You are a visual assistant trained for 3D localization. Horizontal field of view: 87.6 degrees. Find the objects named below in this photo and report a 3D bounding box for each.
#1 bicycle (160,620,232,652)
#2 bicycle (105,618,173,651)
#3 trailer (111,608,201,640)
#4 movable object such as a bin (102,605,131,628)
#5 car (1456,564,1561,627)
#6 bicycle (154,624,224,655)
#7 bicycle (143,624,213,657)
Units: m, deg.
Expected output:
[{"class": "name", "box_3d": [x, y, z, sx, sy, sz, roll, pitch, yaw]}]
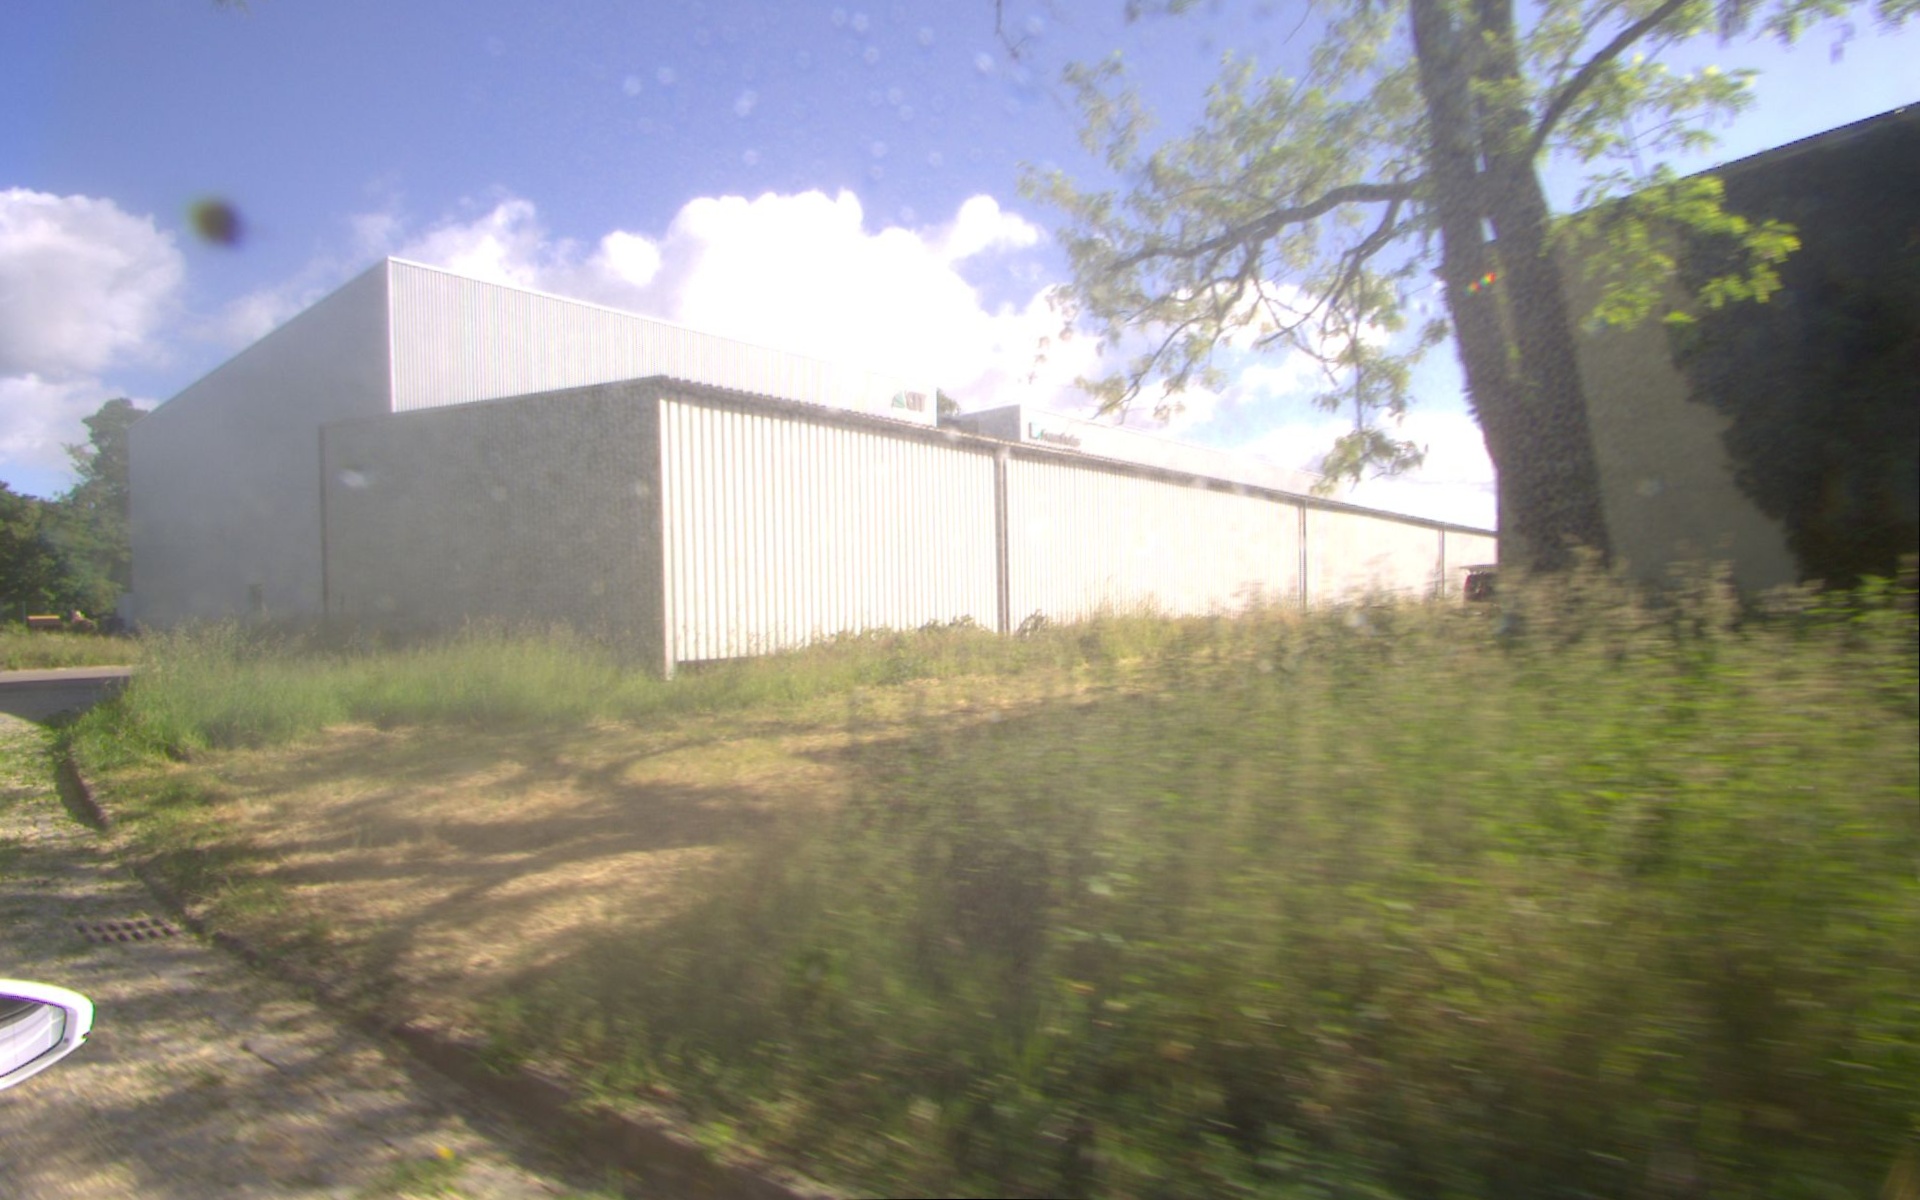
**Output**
[{"class": "bicycle", "box_3d": [-25.886, 1.218, 33.936, 0.428, 0.991, 1.874, 0, 1, 40]}, {"class": "bicycle", "box_3d": [-30.268, 1.245, 36.930, 0.428, 1.141, 1.874, 0, 1, 40]}, {"class": "trailer", "box_3d": [-33.345, 0.992, 41.574, 1.231, 1.216, 2.698, -1, 1, 40]}, {"class": "movable object such as a bin", "box_3d": [-64.442, 1.262, 76.501, 2.812, 1.678, 1.355, -1, 1, 44]}, {"class": "car", "box_3d": [17.942, -0.156, 32.647, 2.056, 1.854, 4.237, -4, -1, 42]}, {"class": "bicycle", "box_3d": [-26.801, 1.365, 34.822, 0.428, 0.991, 1.874, 0, 1, 40]}, {"class": "bicycle", "box_3d": [-27.867, 1.418, 35.706, 0.428, 1.096, 1.874, 0, 1, 40]}]
